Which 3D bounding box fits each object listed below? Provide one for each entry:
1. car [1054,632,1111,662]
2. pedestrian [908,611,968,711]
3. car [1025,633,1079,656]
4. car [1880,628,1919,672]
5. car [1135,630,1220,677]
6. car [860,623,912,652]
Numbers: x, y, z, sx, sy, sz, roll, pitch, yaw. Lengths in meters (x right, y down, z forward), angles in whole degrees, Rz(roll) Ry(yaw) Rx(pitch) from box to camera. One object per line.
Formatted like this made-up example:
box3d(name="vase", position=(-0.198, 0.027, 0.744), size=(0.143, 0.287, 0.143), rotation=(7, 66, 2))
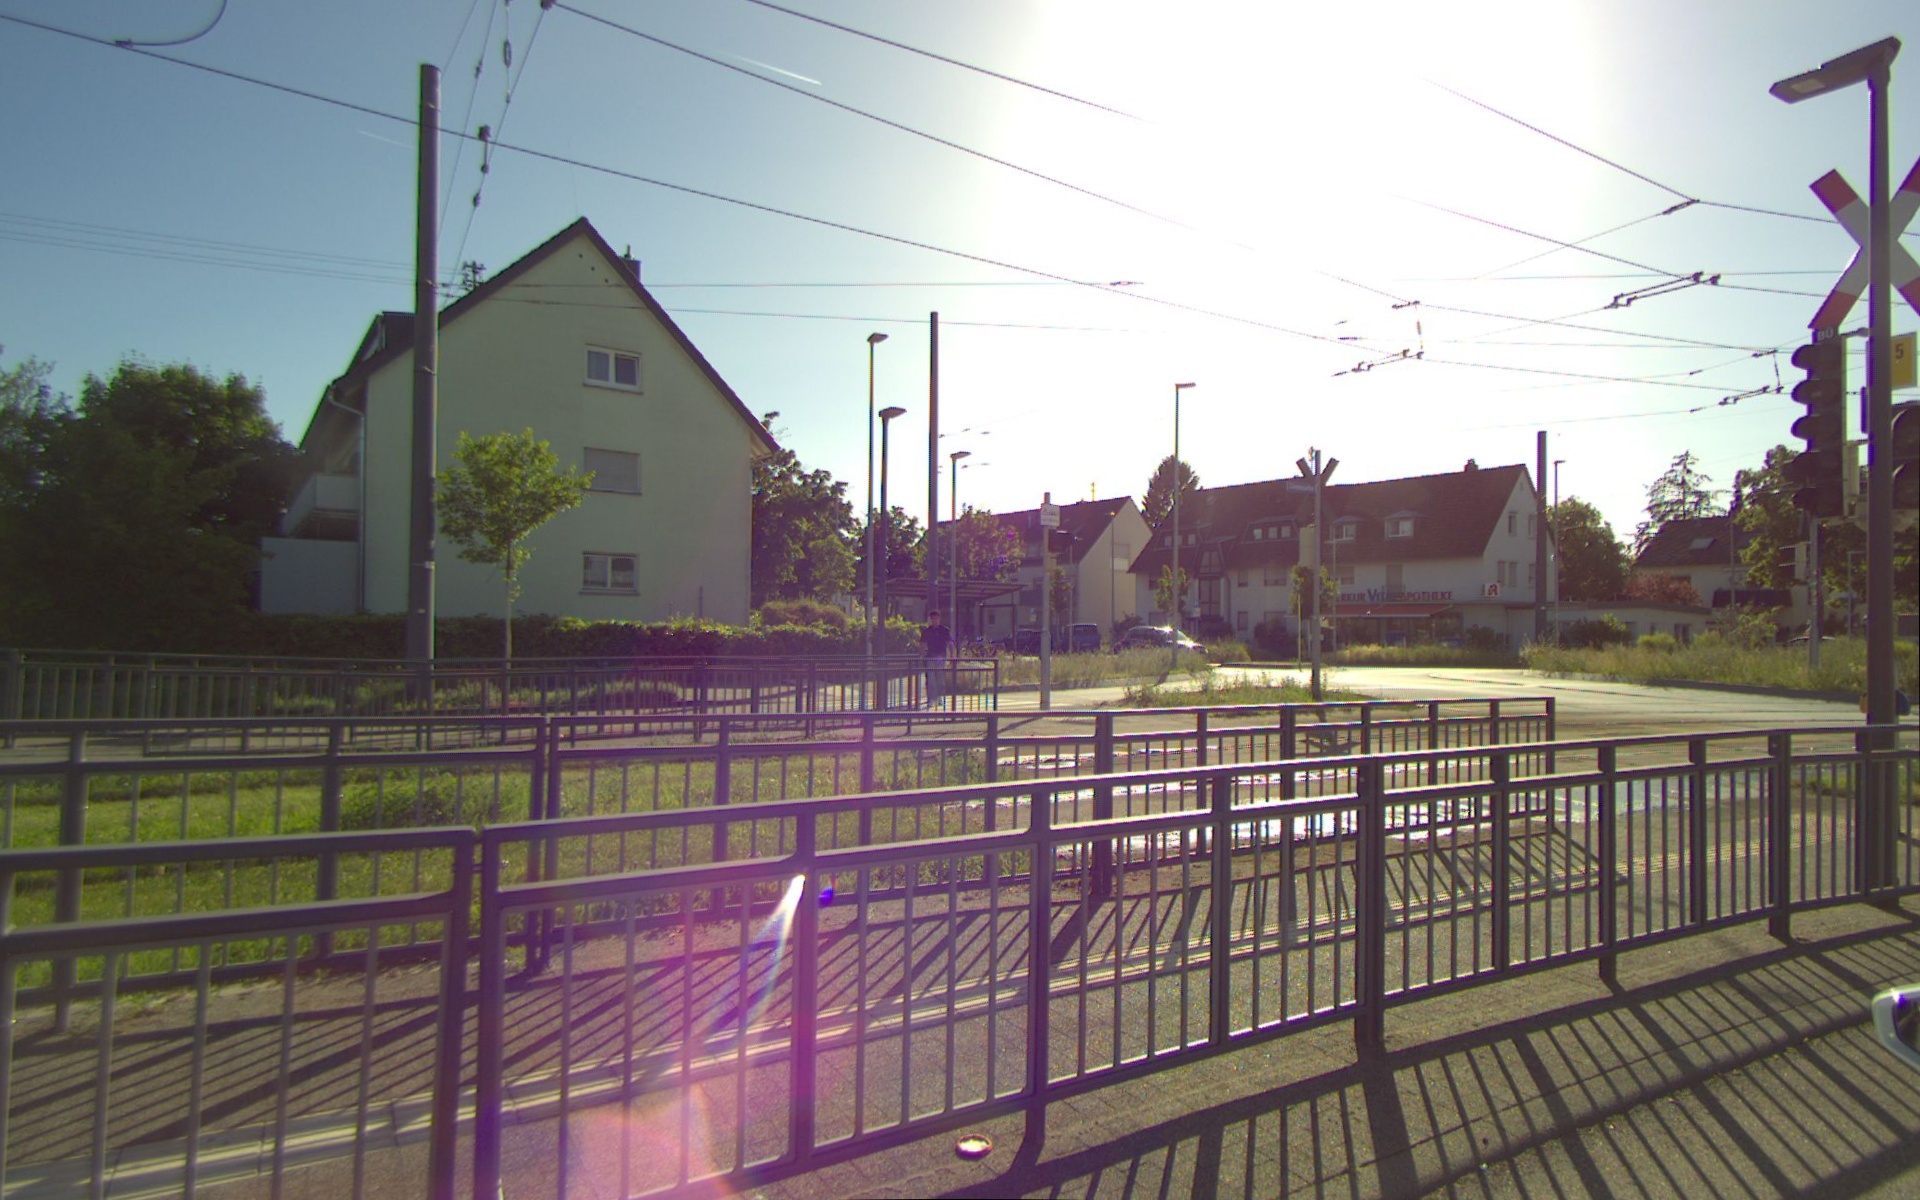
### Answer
box3d(name="car", position=(7.181, 2.753, 58.918), size=(3.021, 1.641, 1.409), rotation=(2, 0, -8))
box3d(name="pedestrian", position=(-0.408, 1.142, 18.849), size=(0.678, 1.794, 0.823), rotation=(3, -1, 33))
box3d(name="car", position=(5.750, 2.813, 63.128), size=(3.108, 1.315, 1.380), rotation=(2, 0, -12))
box3d(name="car", position=(46.048, 2.299, 46.953), size=(5.151, 2.007, 1.994), rotation=(0, -3, -16))
box3d(name="car", position=(8.966, 2.183, 41.759), size=(1.787, 1.693, 4.245), rotation=(-1, 0, -14))
box3d(name="car", position=(-5.732, 2.906, 77.567), size=(1.880, 2.041, 4.323), rotation=(2, 0, -38))
